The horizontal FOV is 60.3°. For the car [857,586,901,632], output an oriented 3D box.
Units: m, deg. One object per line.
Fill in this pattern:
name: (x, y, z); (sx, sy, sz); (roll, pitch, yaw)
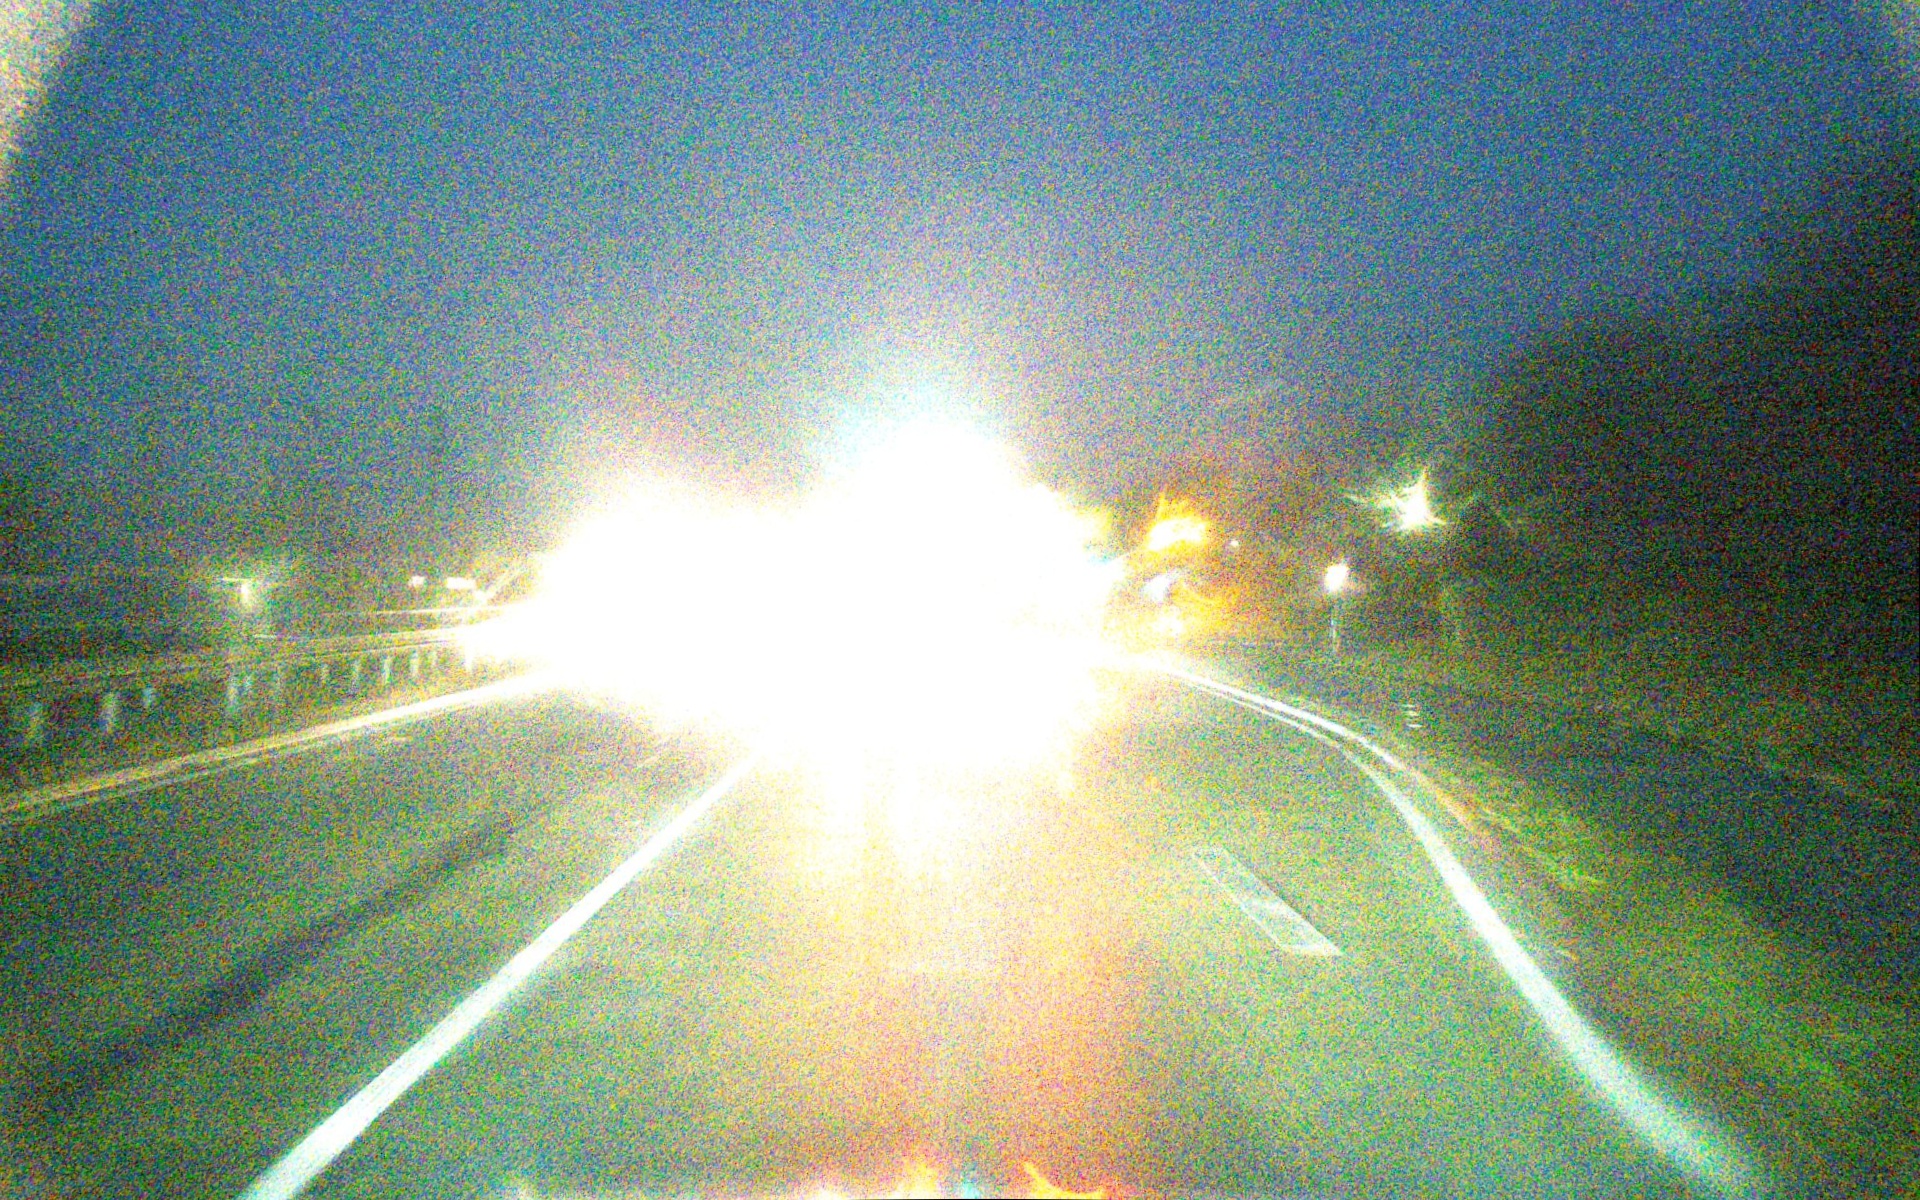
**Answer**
car: (-3.904, 0.436, 79.219); (1.955, 2.049, 3.995); (0, -2, -5)

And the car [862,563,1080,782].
car: (0.026, 0.592, 15.302); (1.739, 1.742, 3.998); (1, 0, -2)
